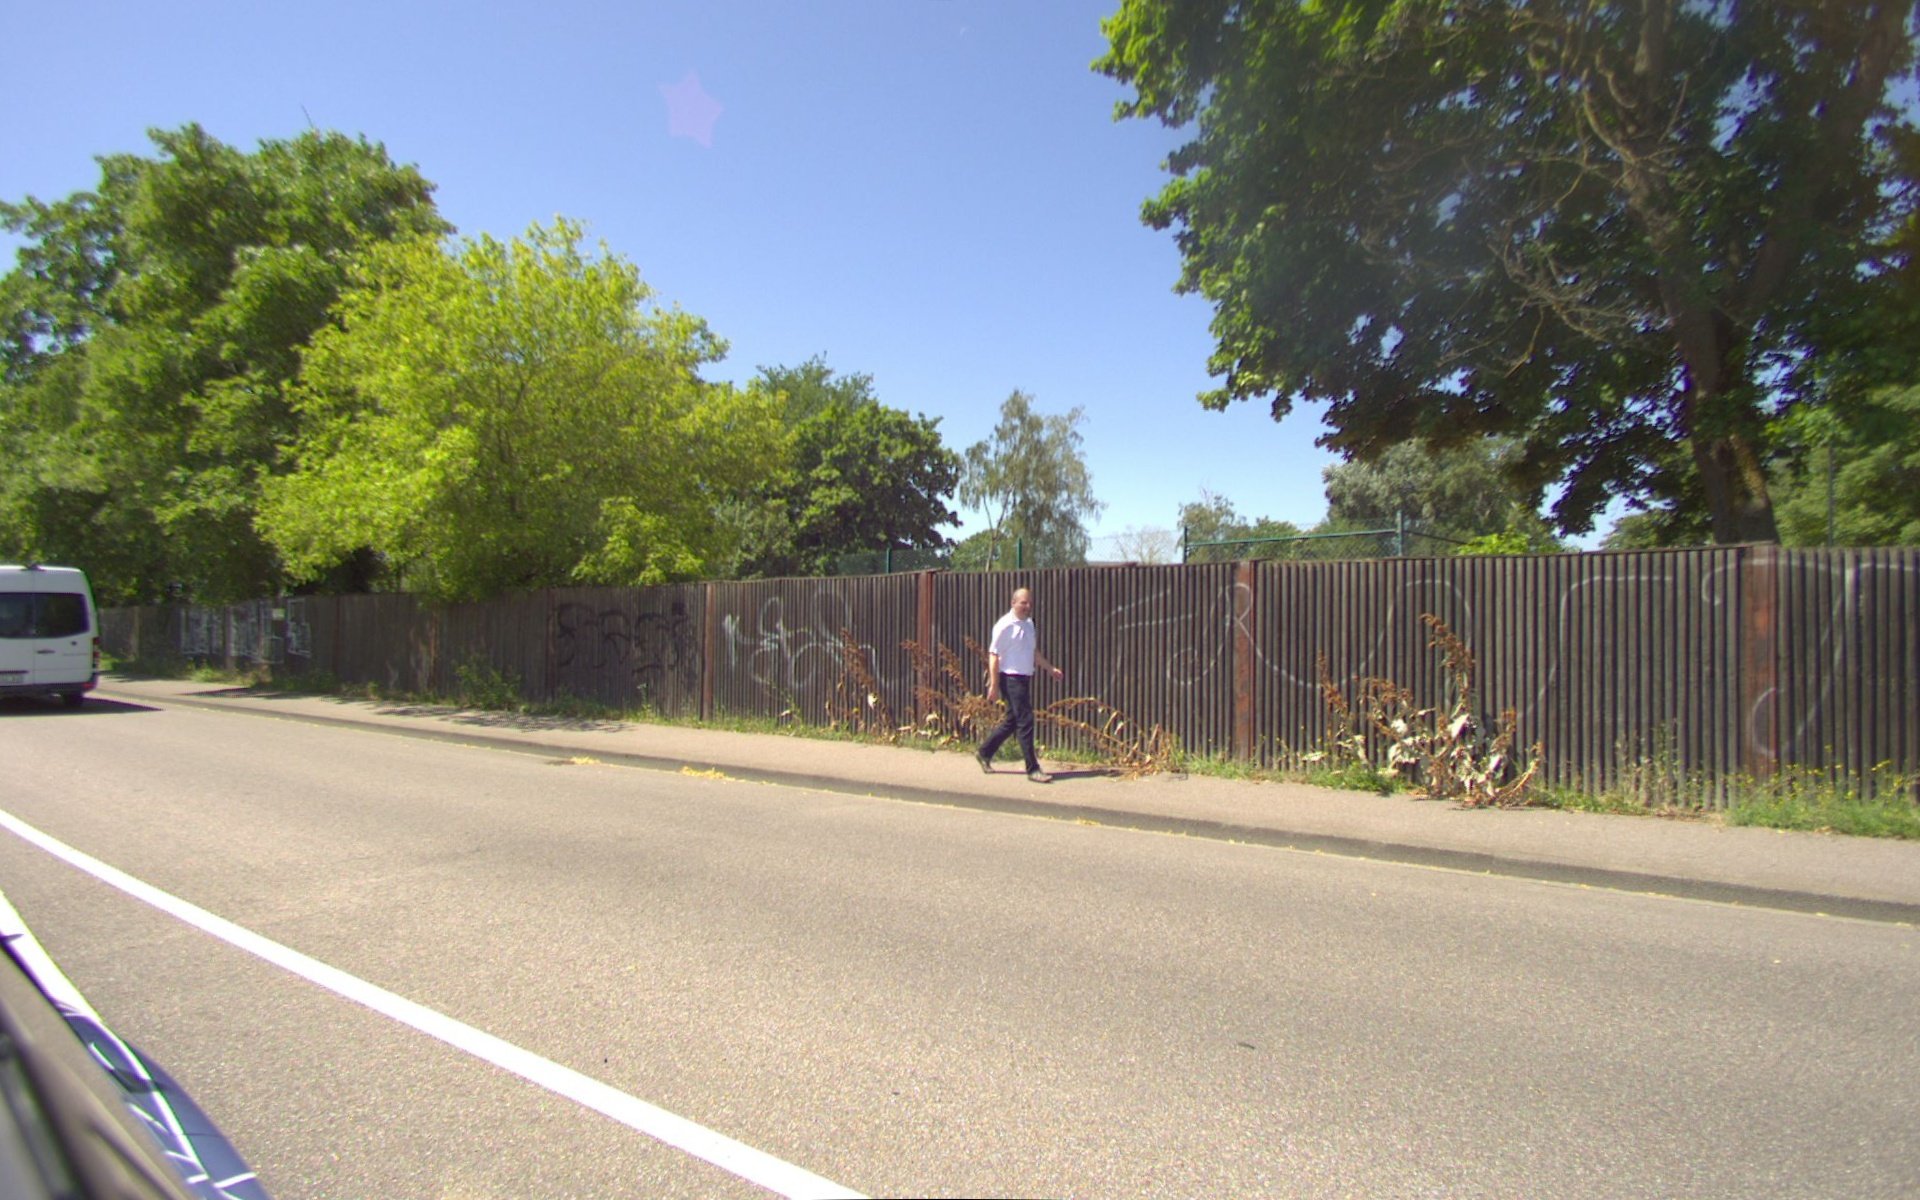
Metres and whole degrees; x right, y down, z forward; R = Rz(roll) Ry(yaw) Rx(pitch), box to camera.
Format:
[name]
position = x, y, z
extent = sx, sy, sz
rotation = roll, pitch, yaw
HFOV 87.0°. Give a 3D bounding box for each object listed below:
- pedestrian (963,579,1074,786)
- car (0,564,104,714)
[pedestrian]
position = 0.548, 0.742, 9.526
extent = 0.850, 1.838, 0.586
rotation = -1, -1, 41
[car]
position = -18.874, 0.727, 19.694
extent = 6.818, 2.558, 2.000
rotation = -1, -3, 38
